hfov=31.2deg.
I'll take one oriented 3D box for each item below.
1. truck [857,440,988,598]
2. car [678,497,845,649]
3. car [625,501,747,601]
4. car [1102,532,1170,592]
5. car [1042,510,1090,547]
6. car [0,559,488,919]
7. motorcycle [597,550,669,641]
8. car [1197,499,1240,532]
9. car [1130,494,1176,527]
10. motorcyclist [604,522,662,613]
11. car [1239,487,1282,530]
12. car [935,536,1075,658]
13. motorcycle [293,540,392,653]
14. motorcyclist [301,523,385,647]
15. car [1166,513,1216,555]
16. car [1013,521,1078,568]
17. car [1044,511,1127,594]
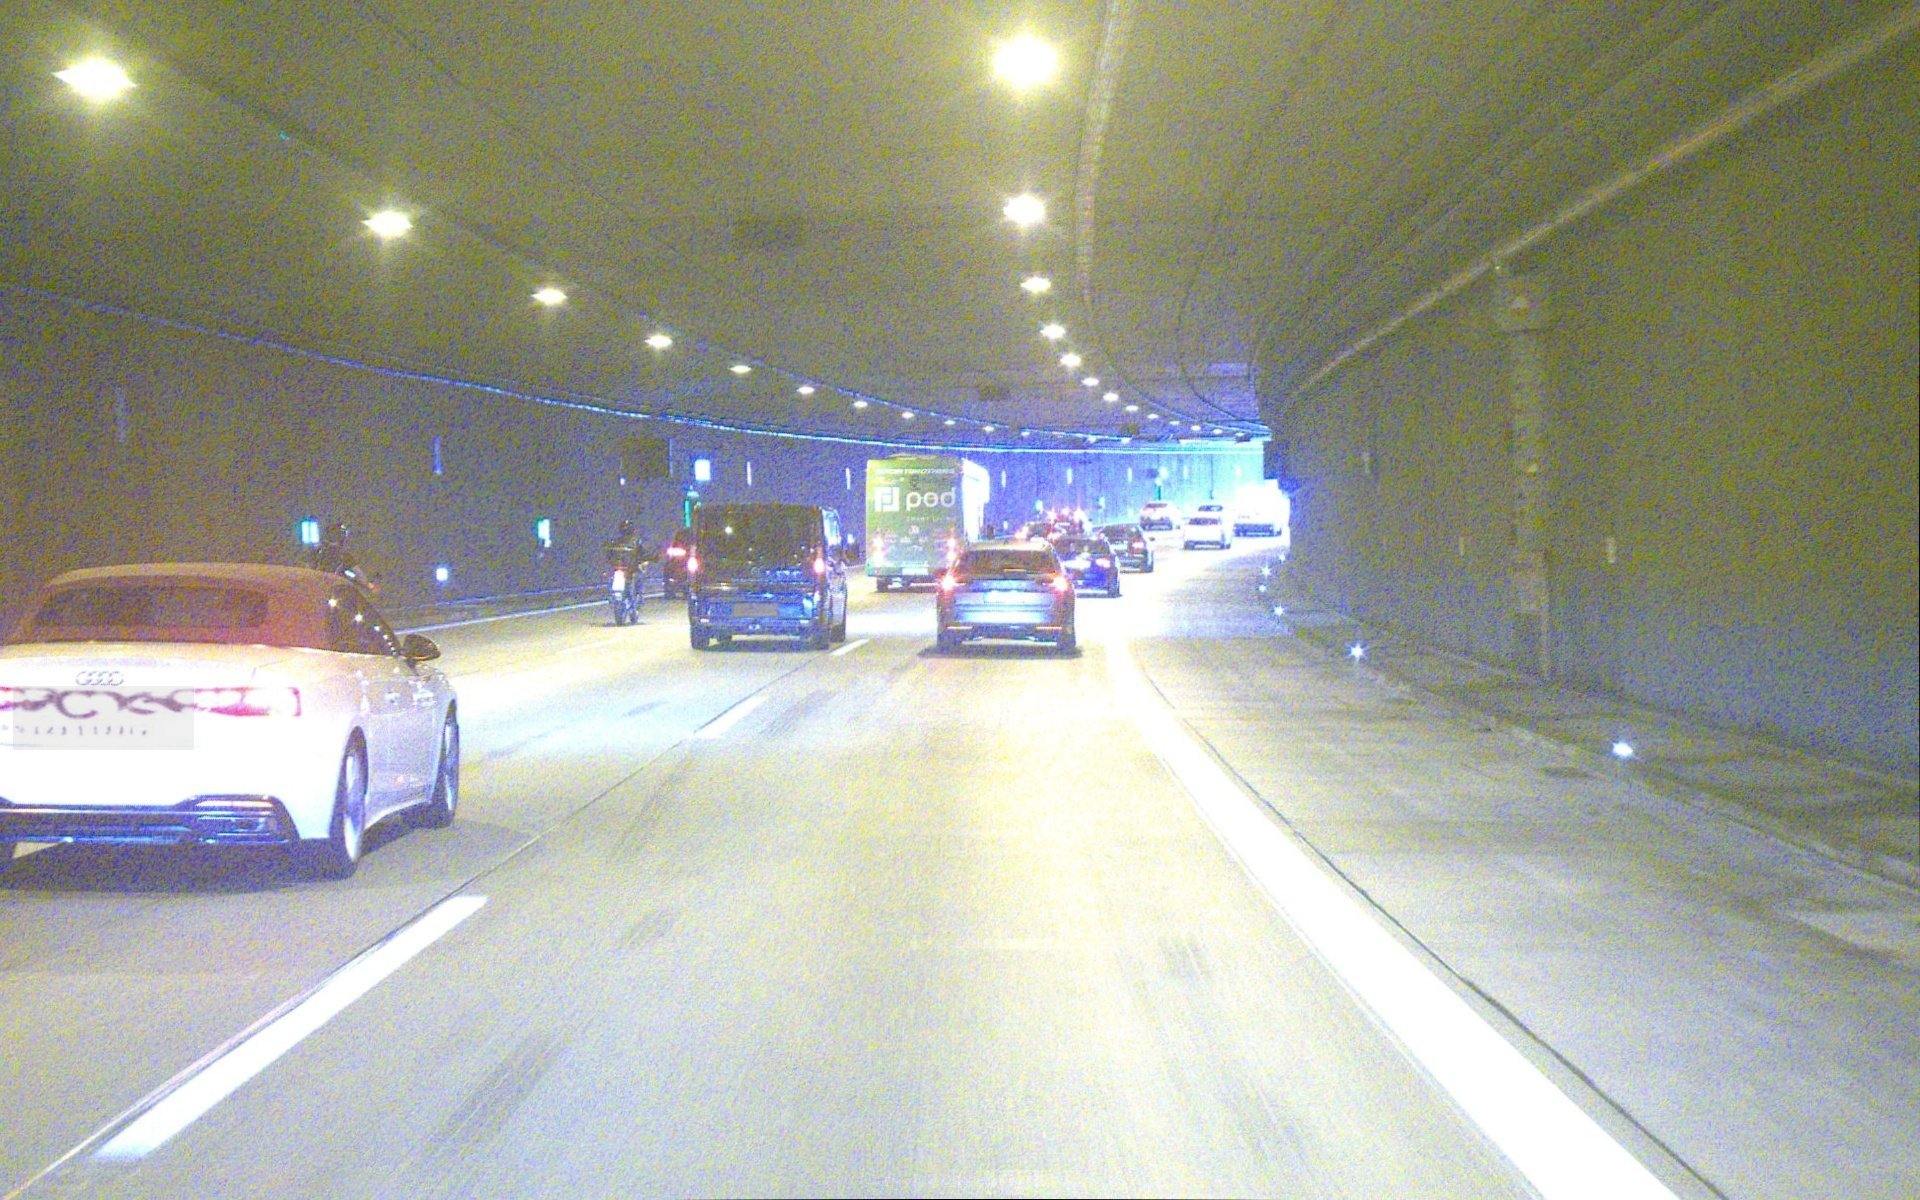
[{"bbox_3d":[-0.861,-1.953,83.828,3.039,3.660,7.393,0,1,0],"label":"truck"},{"bbox_3d":[-2.647,-0.409,46.702,1.910,1.937,3.871,0,2,2],"label":"car"},{"bbox_3d":[-5.672,-1.016,71.610,1.994,2.007,4.000,0,1,4],"label":"car"},{"bbox_3d":[5.340,-1.142,104.681,1.950,1.766,4.000,1,0,2],"label":"car"},{"bbox_3d":[4.908,-3.290,158.884,1.931,1.637,3.999,0,1,5],"label":"car"},{"bbox_3d":[-3.496,0.539,16.628,1.702,1.414,5.060,0,1,0],"label":"car"},{"bbox_3d":[-5.350,-0.066,56.429,0.926,1.429,2.964,1,0,-1],"label":"motorcycle"},{"bbox_3d":[13.659,-4.457,181.446,1.994,1.626,3.999,1,0,7],"label":"car"},{"bbox_3d":[10.534,-4.869,187.473,1.931,1.637,3.998,1,0,12],"label":"car"},{"bbox_3d":[-5.361,-0.528,56.448,0.806,1.443,1.865,0,-1,-2],"label":"motorcyclist"},{"bbox_3d":[15.006,-4.572,171.648,1.994,2.007,3.999,1,0,6],"label":"car"},{"bbox_3d":[0.632,-0.070,45.451,1.742,1.459,3.871,0,2,2],"label":"car"},{"bbox_3d":[-7.305,-0.042,40.759,0.683,1.292,2.399,0,0,1],"label":"motorcycle"},{"bbox_3d":[-7.305,-0.173,40.725,0.777,1.447,1.069,1,0,1],"label":"motorcyclist"},{"bbox_3d":[9.707,-2.749,144.439,1.930,1.637,4.000,1,0,2],"label":"car"},{"bbox_3d":[3.074,-1.988,123.460,1.994,1.626,3.999,1,1,6],"label":"car"},{"bbox_3d":[2.874,-1.089,79.016,1.857,1.848,4.000,0,1,2],"label":"car"}]
